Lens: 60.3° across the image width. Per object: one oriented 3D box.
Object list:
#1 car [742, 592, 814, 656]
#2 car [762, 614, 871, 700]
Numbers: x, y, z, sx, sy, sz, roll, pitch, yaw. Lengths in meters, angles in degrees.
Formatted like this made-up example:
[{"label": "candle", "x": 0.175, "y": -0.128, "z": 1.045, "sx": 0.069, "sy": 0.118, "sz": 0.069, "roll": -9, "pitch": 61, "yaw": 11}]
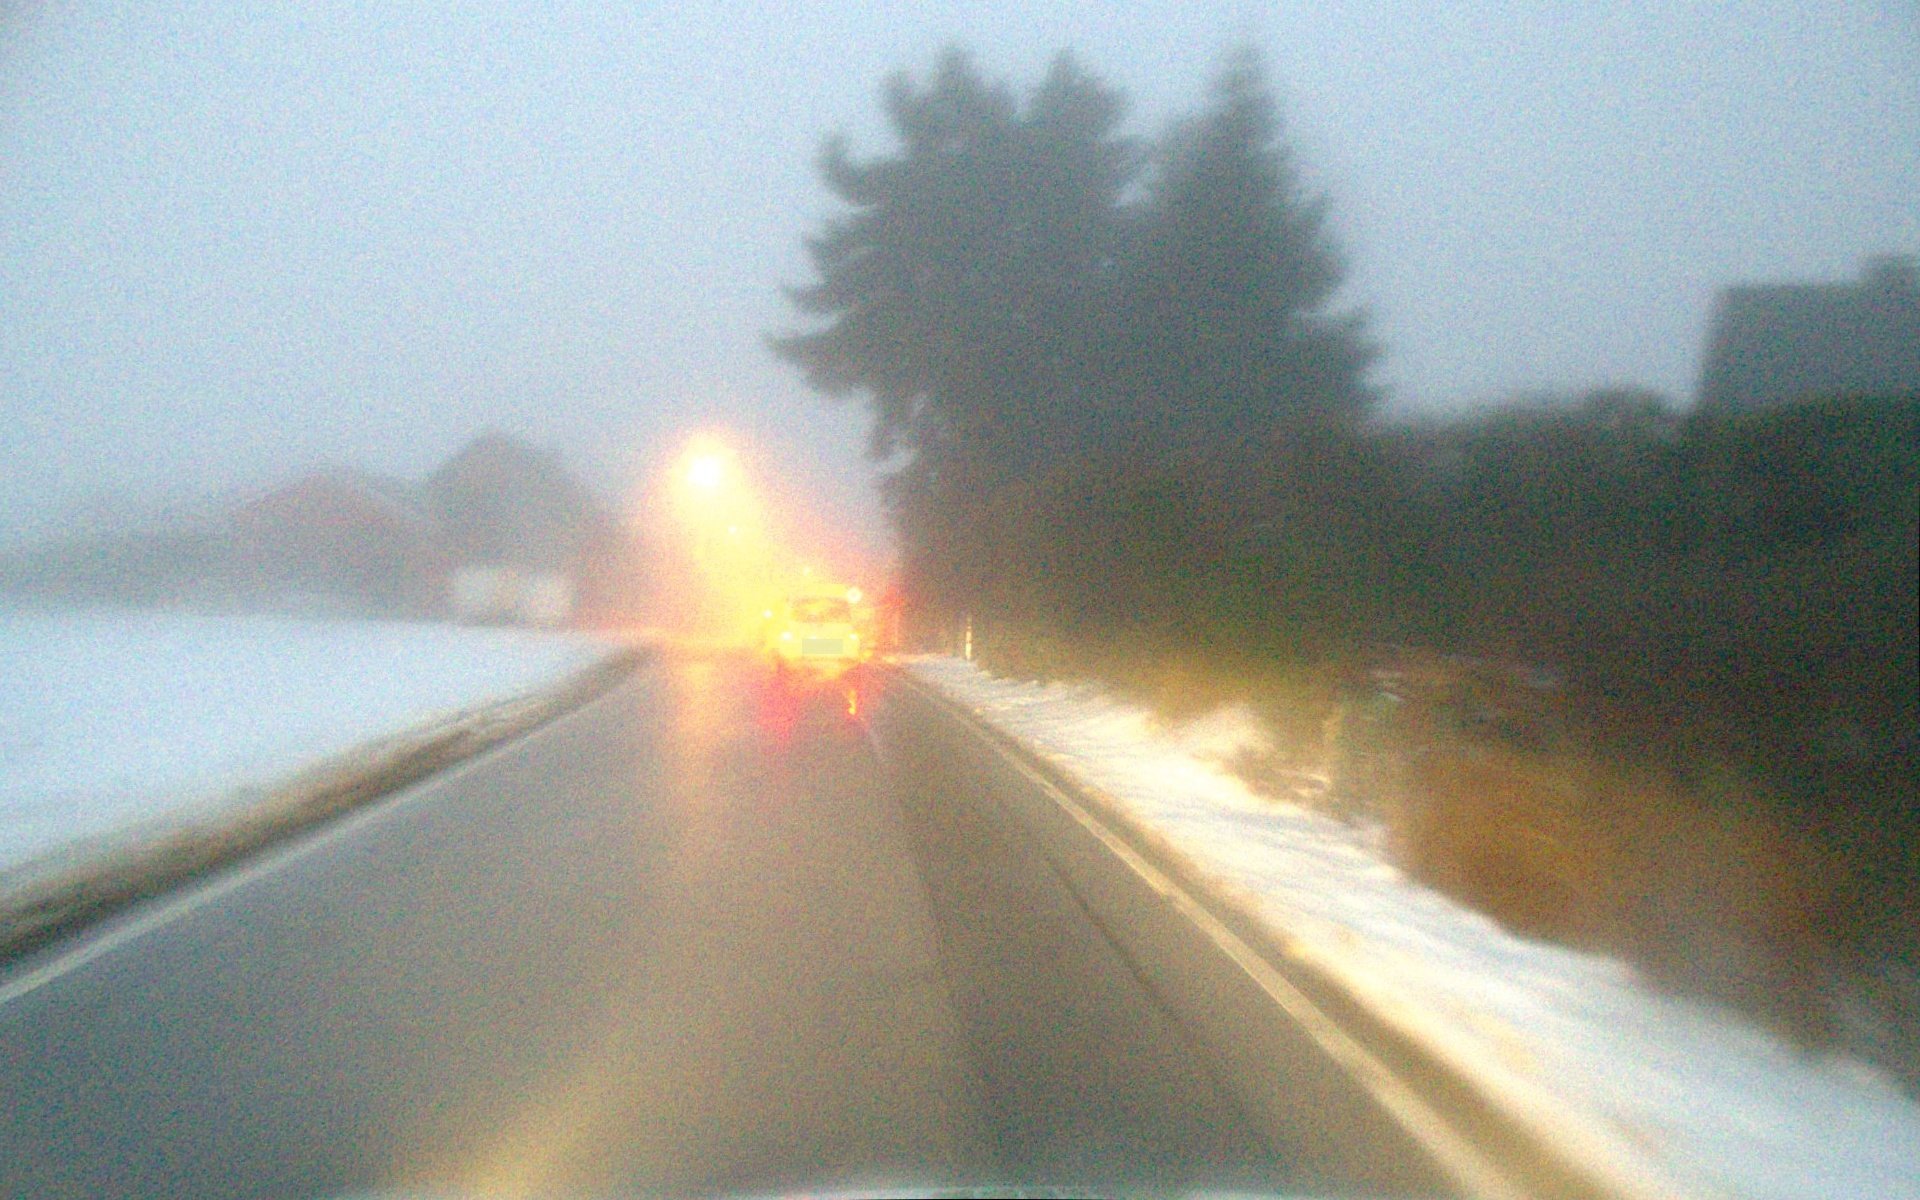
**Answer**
[{"label": "car", "x": -5.258, "y": 0.688, "z": 48.113, "sx": 1.955, "sy": 1.780, "sz": 3.995, "roll": 0, "pitch": 0, "yaw": -5}, {"label": "car", "x": -2.760, "y": 1.057, "z": 32.095, "sx": 1.954, "sy": 1.534, "sz": 3.996, "roll": 0, "pitch": 0, "yaw": -4}]
